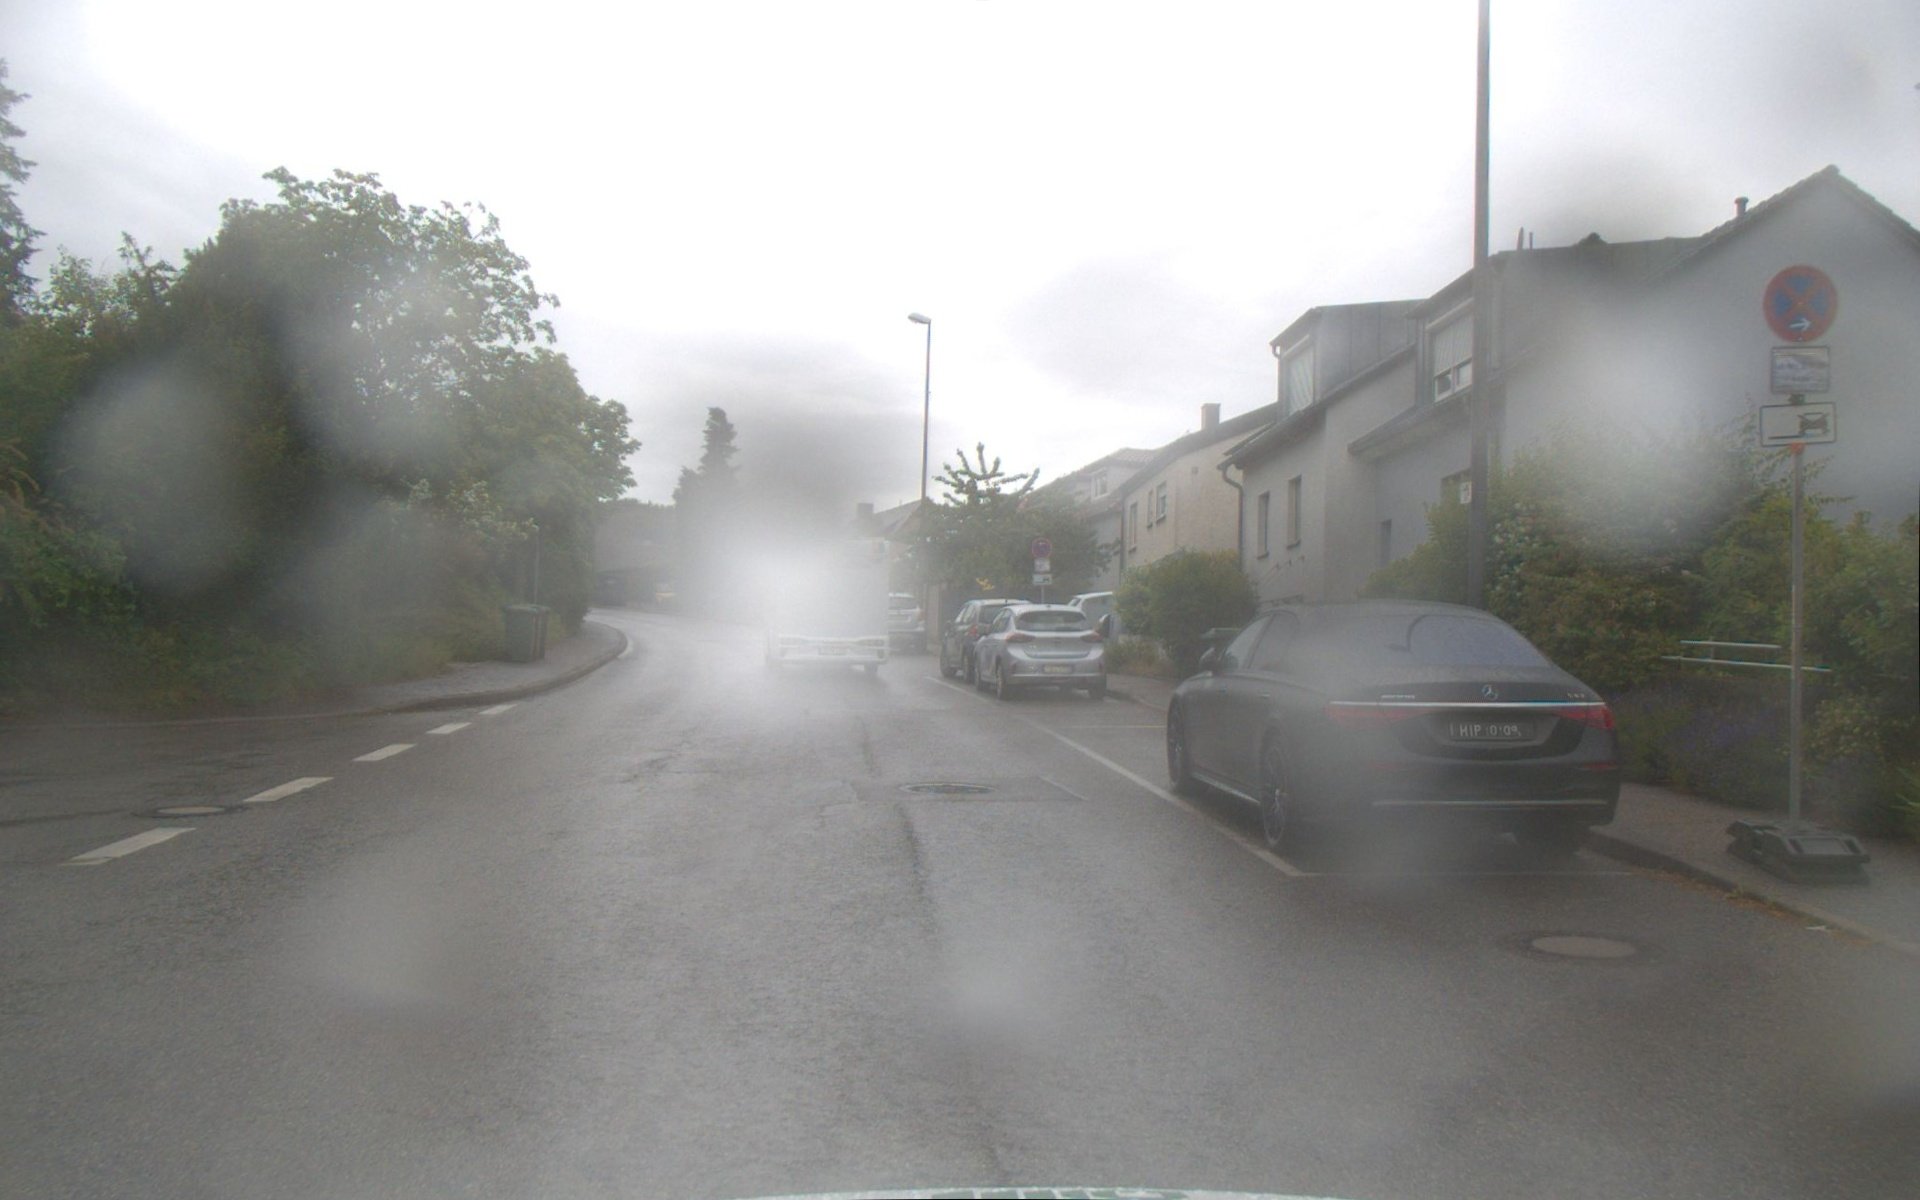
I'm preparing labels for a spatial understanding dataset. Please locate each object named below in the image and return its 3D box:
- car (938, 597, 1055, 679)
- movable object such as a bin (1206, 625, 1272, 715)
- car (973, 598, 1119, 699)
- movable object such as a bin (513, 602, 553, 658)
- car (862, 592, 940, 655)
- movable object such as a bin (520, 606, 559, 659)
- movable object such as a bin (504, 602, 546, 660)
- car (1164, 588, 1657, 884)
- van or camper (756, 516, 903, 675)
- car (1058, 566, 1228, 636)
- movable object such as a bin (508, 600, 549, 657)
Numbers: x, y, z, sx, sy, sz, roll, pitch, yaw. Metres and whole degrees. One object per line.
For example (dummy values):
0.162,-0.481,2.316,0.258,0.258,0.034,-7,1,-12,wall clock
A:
0.653,0.694,32.323,1.629,1.493,3.755,-1,0,-9,car
3.465,0.861,20.585,0.662,1.086,0.644,1,0,-5,movable object such as a bin
1.324,0.723,27.134,1.734,1.493,4.229,-1,0,-6,car
-8.626,0.604,33.464,0.755,1.116,0.669,0,0,-14,movable object such as a bin
-1.715,0.620,46.596,1.770,1.655,4.280,-1,0,-8,car
-8.682,0.664,34.189,0.755,1.086,0.688,0,0,-13,movable object such as a bin
-8.396,0.596,31.948,0.755,1.116,0.735,0,0,-13,movable object such as a bin
2.738,0.717,11.419,1.820,1.553,5.061,-1,0,-3,car
-2.834,-0.058,34.384,2.494,2.976,5.934,1,0,-10,van or camper
4.576,0.043,41.707,3.911,1.617,1.932,2,-2,-7,car
-8.537,0.555,32.714,0.755,1.116,0.735,0,0,-13,movable object such as a bin
